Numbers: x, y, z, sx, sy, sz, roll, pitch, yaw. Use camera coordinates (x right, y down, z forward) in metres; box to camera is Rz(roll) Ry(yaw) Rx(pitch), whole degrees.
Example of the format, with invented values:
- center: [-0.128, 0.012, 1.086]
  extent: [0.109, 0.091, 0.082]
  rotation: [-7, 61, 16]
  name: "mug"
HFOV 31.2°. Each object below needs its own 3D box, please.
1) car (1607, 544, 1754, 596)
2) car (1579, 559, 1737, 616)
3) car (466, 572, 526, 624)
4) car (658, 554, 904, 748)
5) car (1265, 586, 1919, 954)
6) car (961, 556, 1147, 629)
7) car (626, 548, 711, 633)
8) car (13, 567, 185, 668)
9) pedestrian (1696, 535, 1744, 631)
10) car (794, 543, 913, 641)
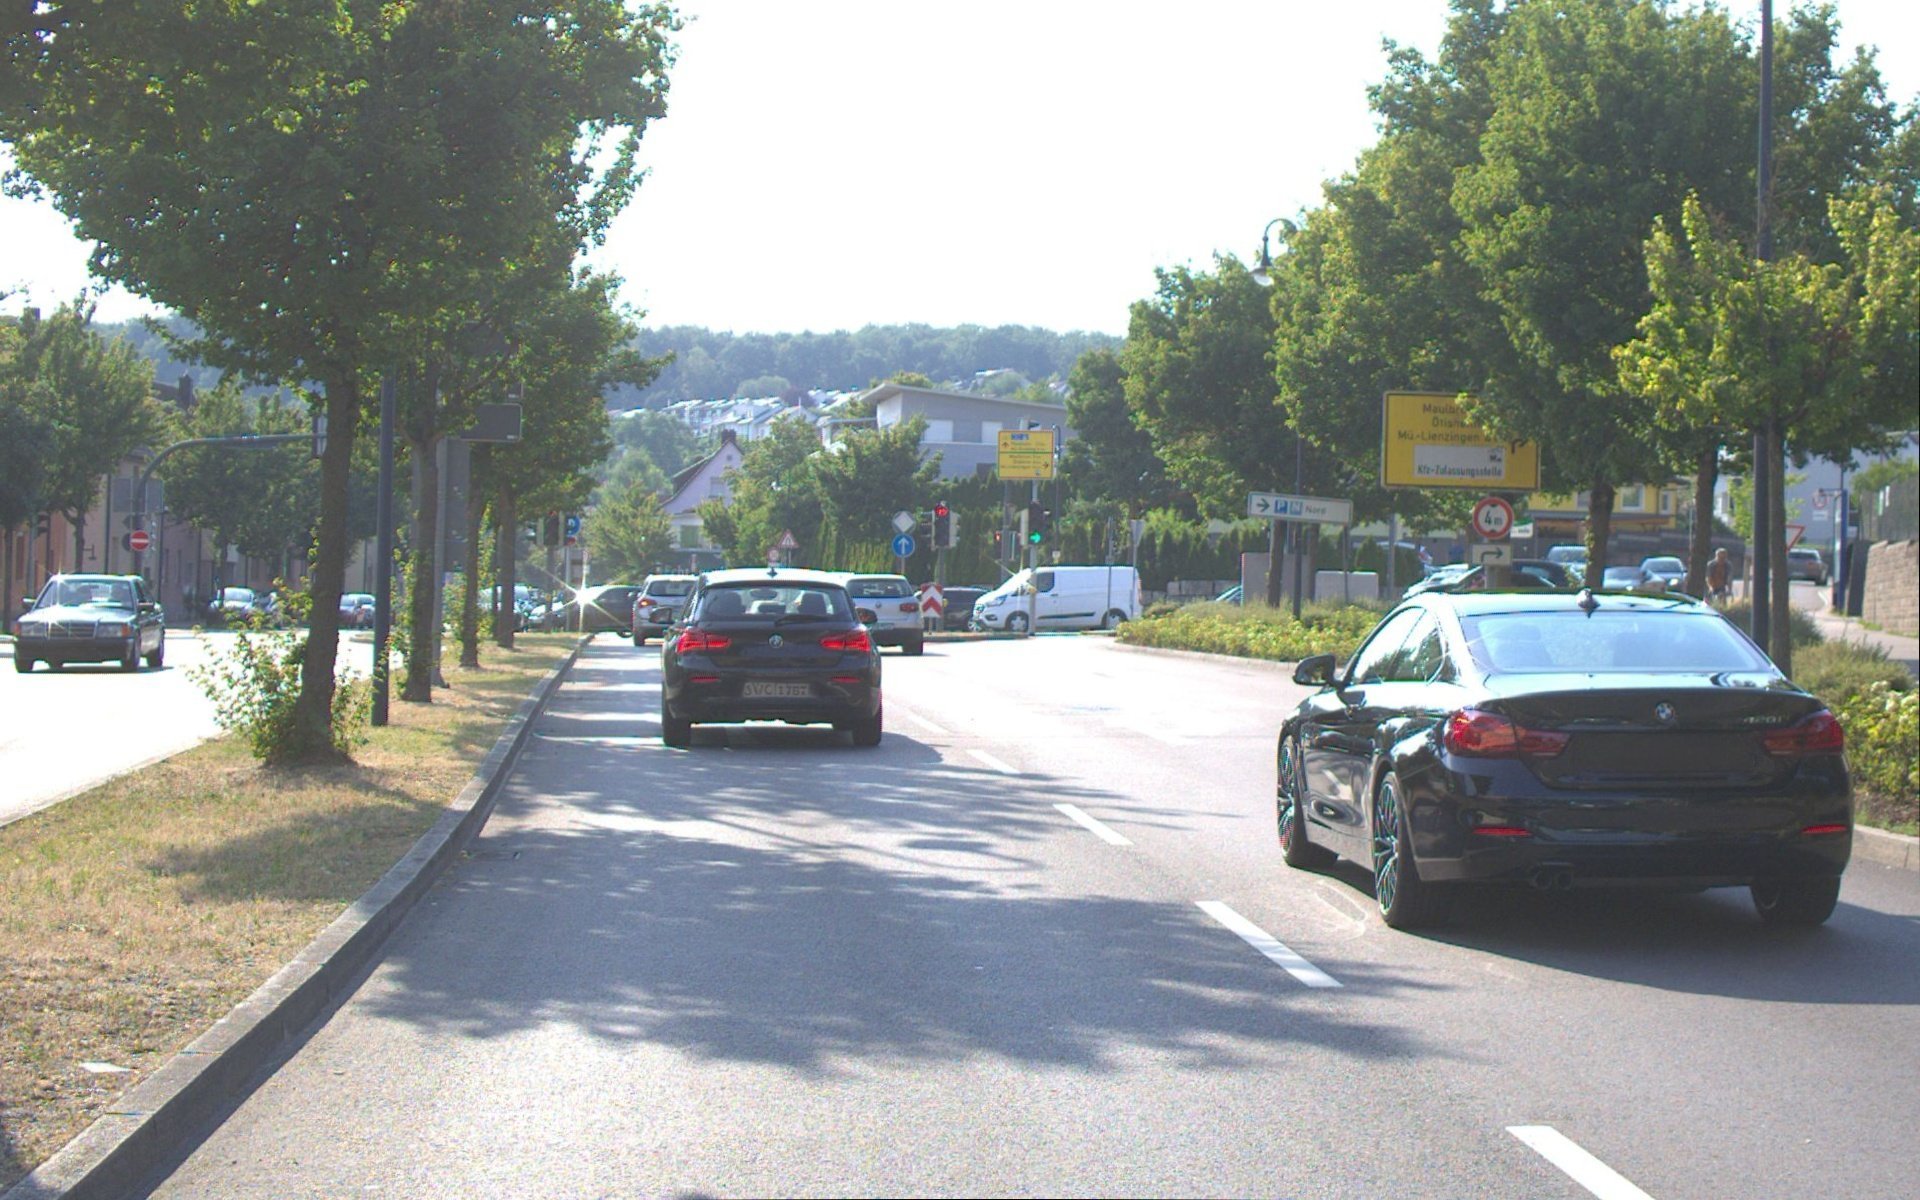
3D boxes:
- center: [25.272, -1.060, 120.703]
  extent: [4.629, 1.823, 2.000]
  rotation: [0, 1, -8]
  name: "car"
- center: [22.713, -0.413, 111.943]
  extent: [4.629, 1.823, 2.000]
  rotation: [0, 1, -8]
  name: "car"
- center: [-15.477, -0.071, 114.708]
  extent: [1.730, 1.673, 4.001]
  rotation: [0, 1, -4]
  name: "car"
- center: [-1.437, 0.369, 29.054]
  extent: [1.721, 1.485, 4.353]
  rotation: [1, 1, 2]
  name: "car"
- center: [2.580, 0.630, 15.125]
  extent: [1.920, 1.359, 4.353]
  rotation: [0, 0, -2]
  name: "car"
- center: [2.767, -0.229, 101.570]
  extent: [5.106, 2.122, 2.147]
  rotation: [0, 1, -13]
  name: "car"
- center: [-6.279, -0.225, 73.731]
  extent: [1.756, 1.763, 3.972]
  rotation: [0, 1, -6]
  name: "car"
- center: [-12.241, 0.220, 49.104]
  extent: [1.756, 1.356, 4.485]
  rotation: [0, 1, -6]
  name: "car"
- center: [13.565, -0.309, 61.382]
  extent: [0.696, 1.697, 0.950]
  rotation: [0, 1, 3]
  name: "pedestrian"
- center: [-2.021, -0.174, 64.200]
  extent: [1.925, 1.763, 4.455]
  rotation: [0, 1, -6]
  name: "car"
